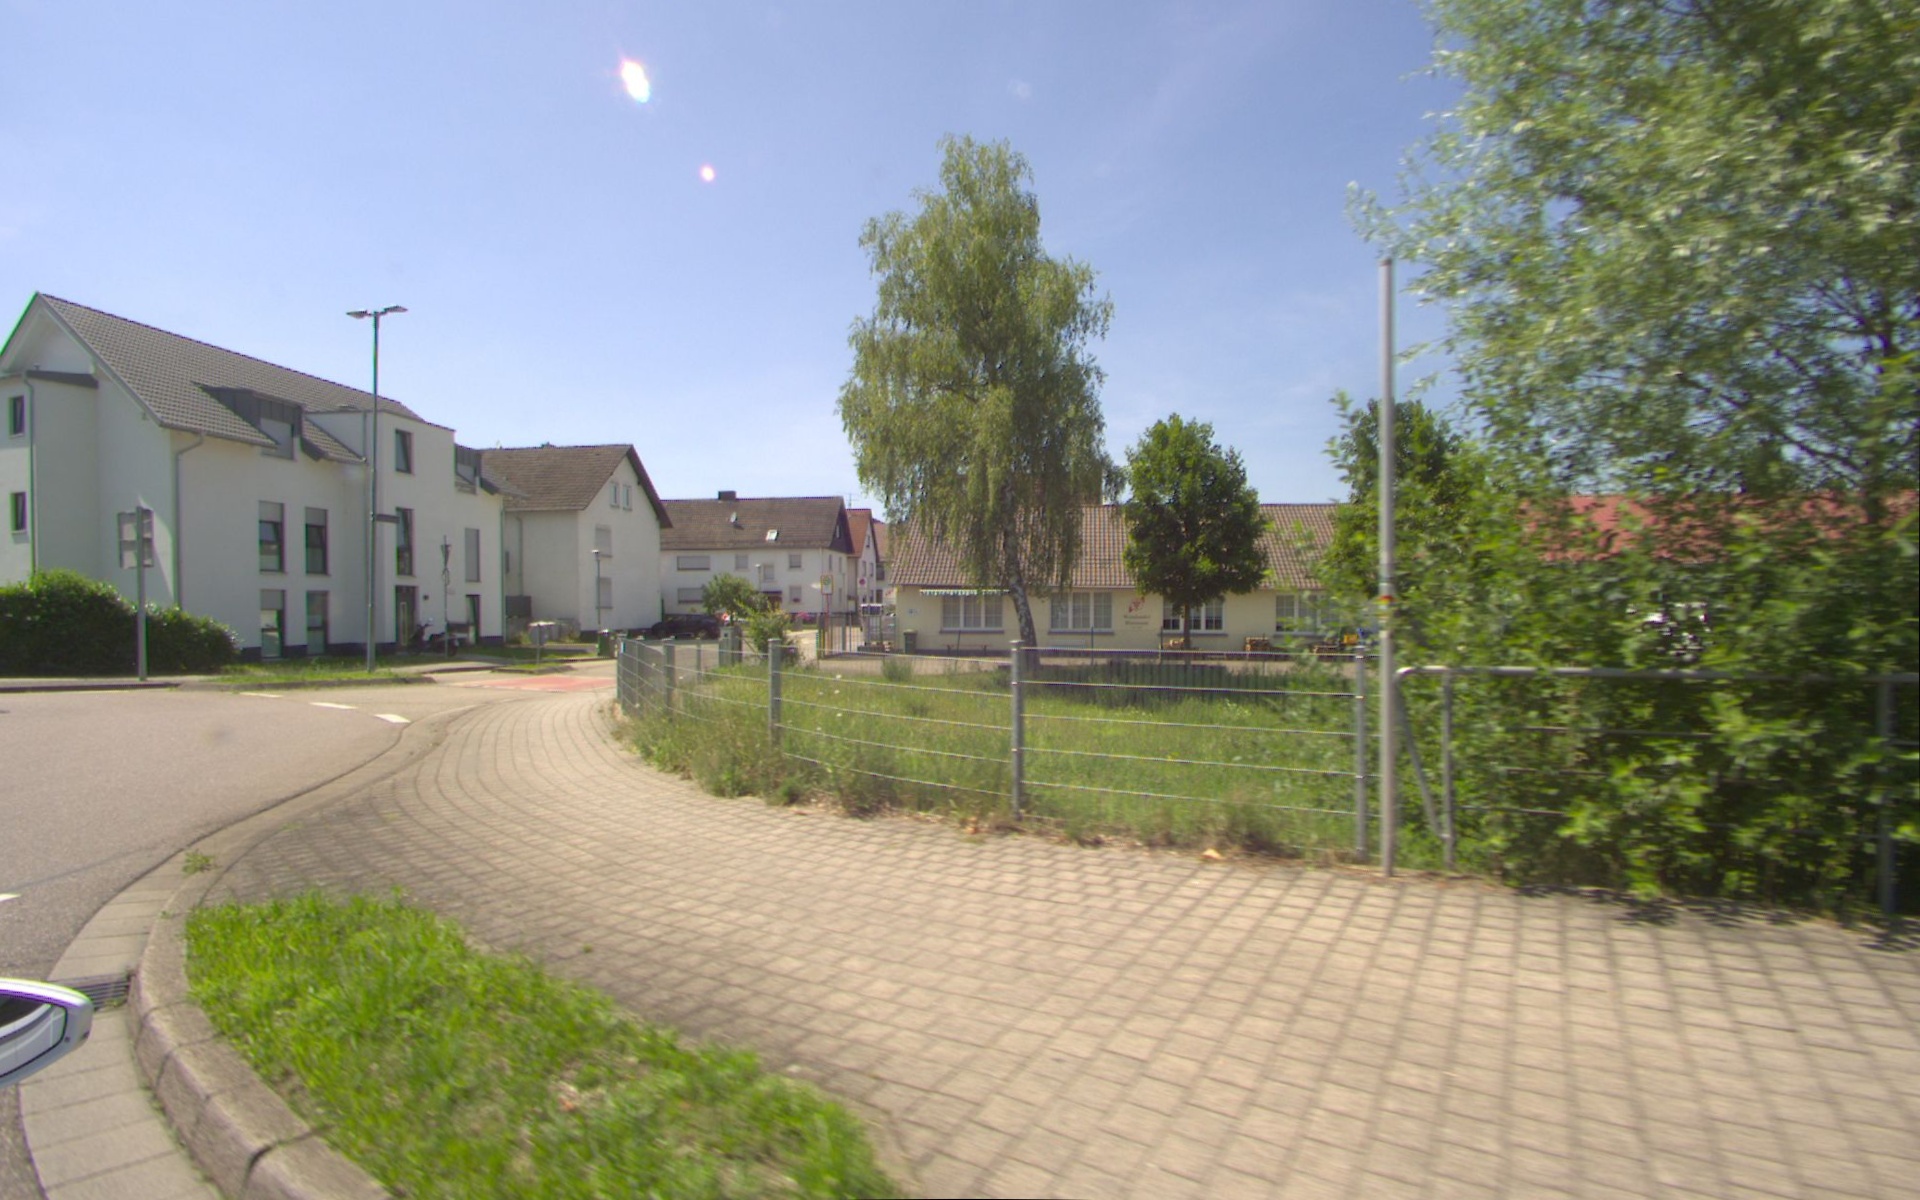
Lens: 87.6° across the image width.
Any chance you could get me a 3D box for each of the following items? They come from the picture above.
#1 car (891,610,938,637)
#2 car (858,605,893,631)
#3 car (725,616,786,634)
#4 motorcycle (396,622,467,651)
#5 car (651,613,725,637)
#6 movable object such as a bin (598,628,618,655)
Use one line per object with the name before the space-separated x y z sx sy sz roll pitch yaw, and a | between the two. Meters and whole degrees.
car | -2.715 1.413 59.937 2.700 1.618 1.172 0 -1 7
car | -6.124 1.356 72.855 1.821 1.809 4.001 0 -2 7
car | -14.679 1.804 72.006 3.922 1.206 1.840 0 0 4
motorcycle | -19.028 1.307 36.048 2.324 1.026 0.672 0 -2 10
car | -16.038 1.476 59.115 3.922 1.401 1.660 0 -1 4
movable object such as a bin | -14.534 1.699 41.375 0.635 1.098 0.458 0 0 14
